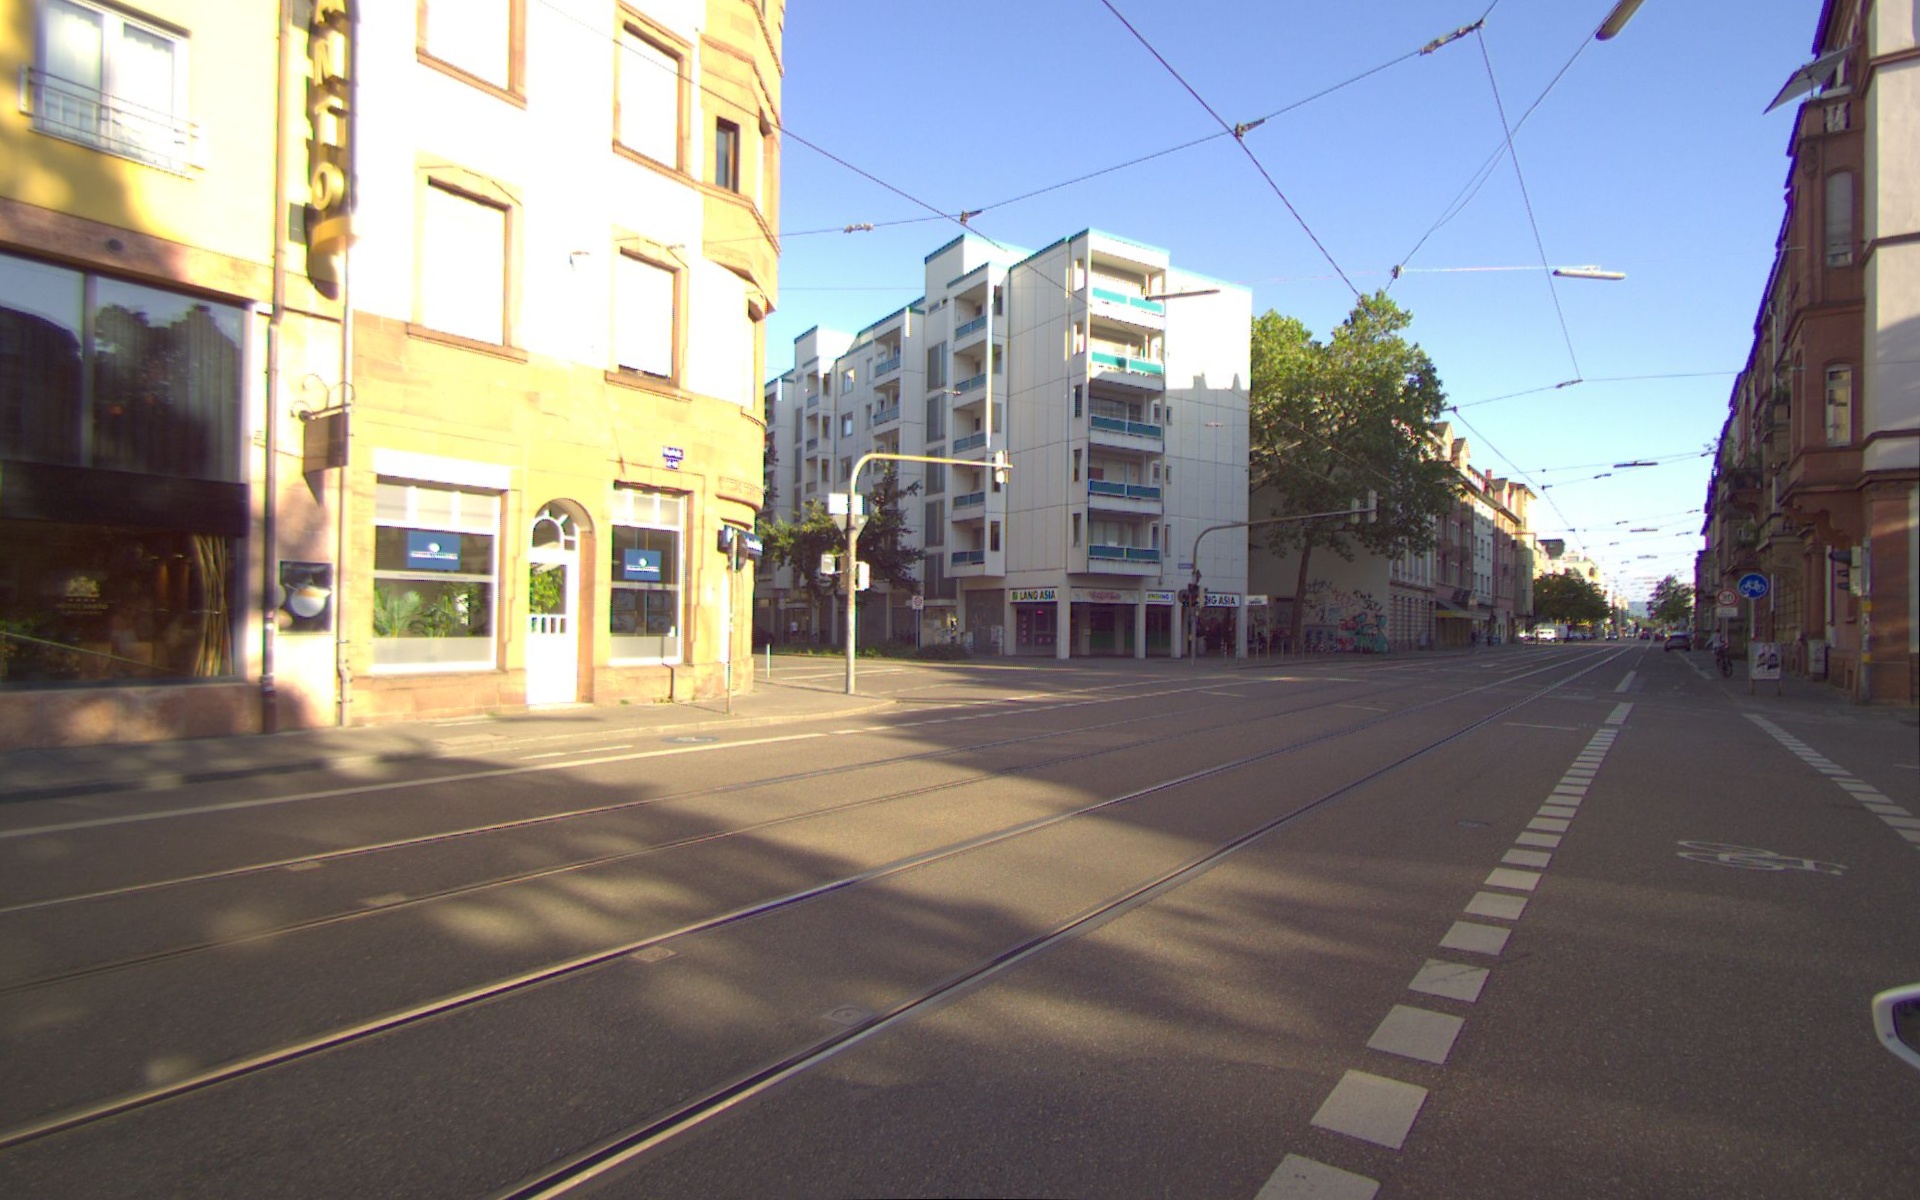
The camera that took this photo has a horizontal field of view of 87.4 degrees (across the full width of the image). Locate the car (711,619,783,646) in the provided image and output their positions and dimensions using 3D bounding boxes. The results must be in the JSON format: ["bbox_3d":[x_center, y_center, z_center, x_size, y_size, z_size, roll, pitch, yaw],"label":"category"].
[{"bbox_3d":[-13.415,2.058,63.336,3.967,1.606,1.977,2,-2,-40],"label":"car"}]

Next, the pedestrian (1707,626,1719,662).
[{"bbox_3d":[39.285,2.303,52.411,0.486,1.835,0.624,0,-1,40],"label":"pedestrian"}]

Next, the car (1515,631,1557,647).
[{"bbox_3d":[76.795,5.165,133.900,4.681,2.040,2.281,0,-2,38],"label":"car"}]

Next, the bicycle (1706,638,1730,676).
[{"bbox_3d":[25.999,1.941,34.467,0.510,1.230,2.003,0,-1,34],"label":"bicycle"}]

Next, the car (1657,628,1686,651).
[{"bbox_3d":[64.734,3.559,91.369,1.969,2.040,3.983,0,-2,38],"label":"car"}]

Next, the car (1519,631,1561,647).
[{"bbox_3d":[78.592,5.231,136.215,4.681,2.040,2.516,0,-2,38],"label":"car"}]

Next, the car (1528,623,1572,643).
[{"bbox_3d":[82.647,4.635,140.733,4.659,2.720,2.528,1,-1,9],"label":"car"}]

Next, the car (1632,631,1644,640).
[{"bbox_3d":[142.749,7.447,211.480,1.966,1.715,3.990,0,-1,33],"label":"car"}]
